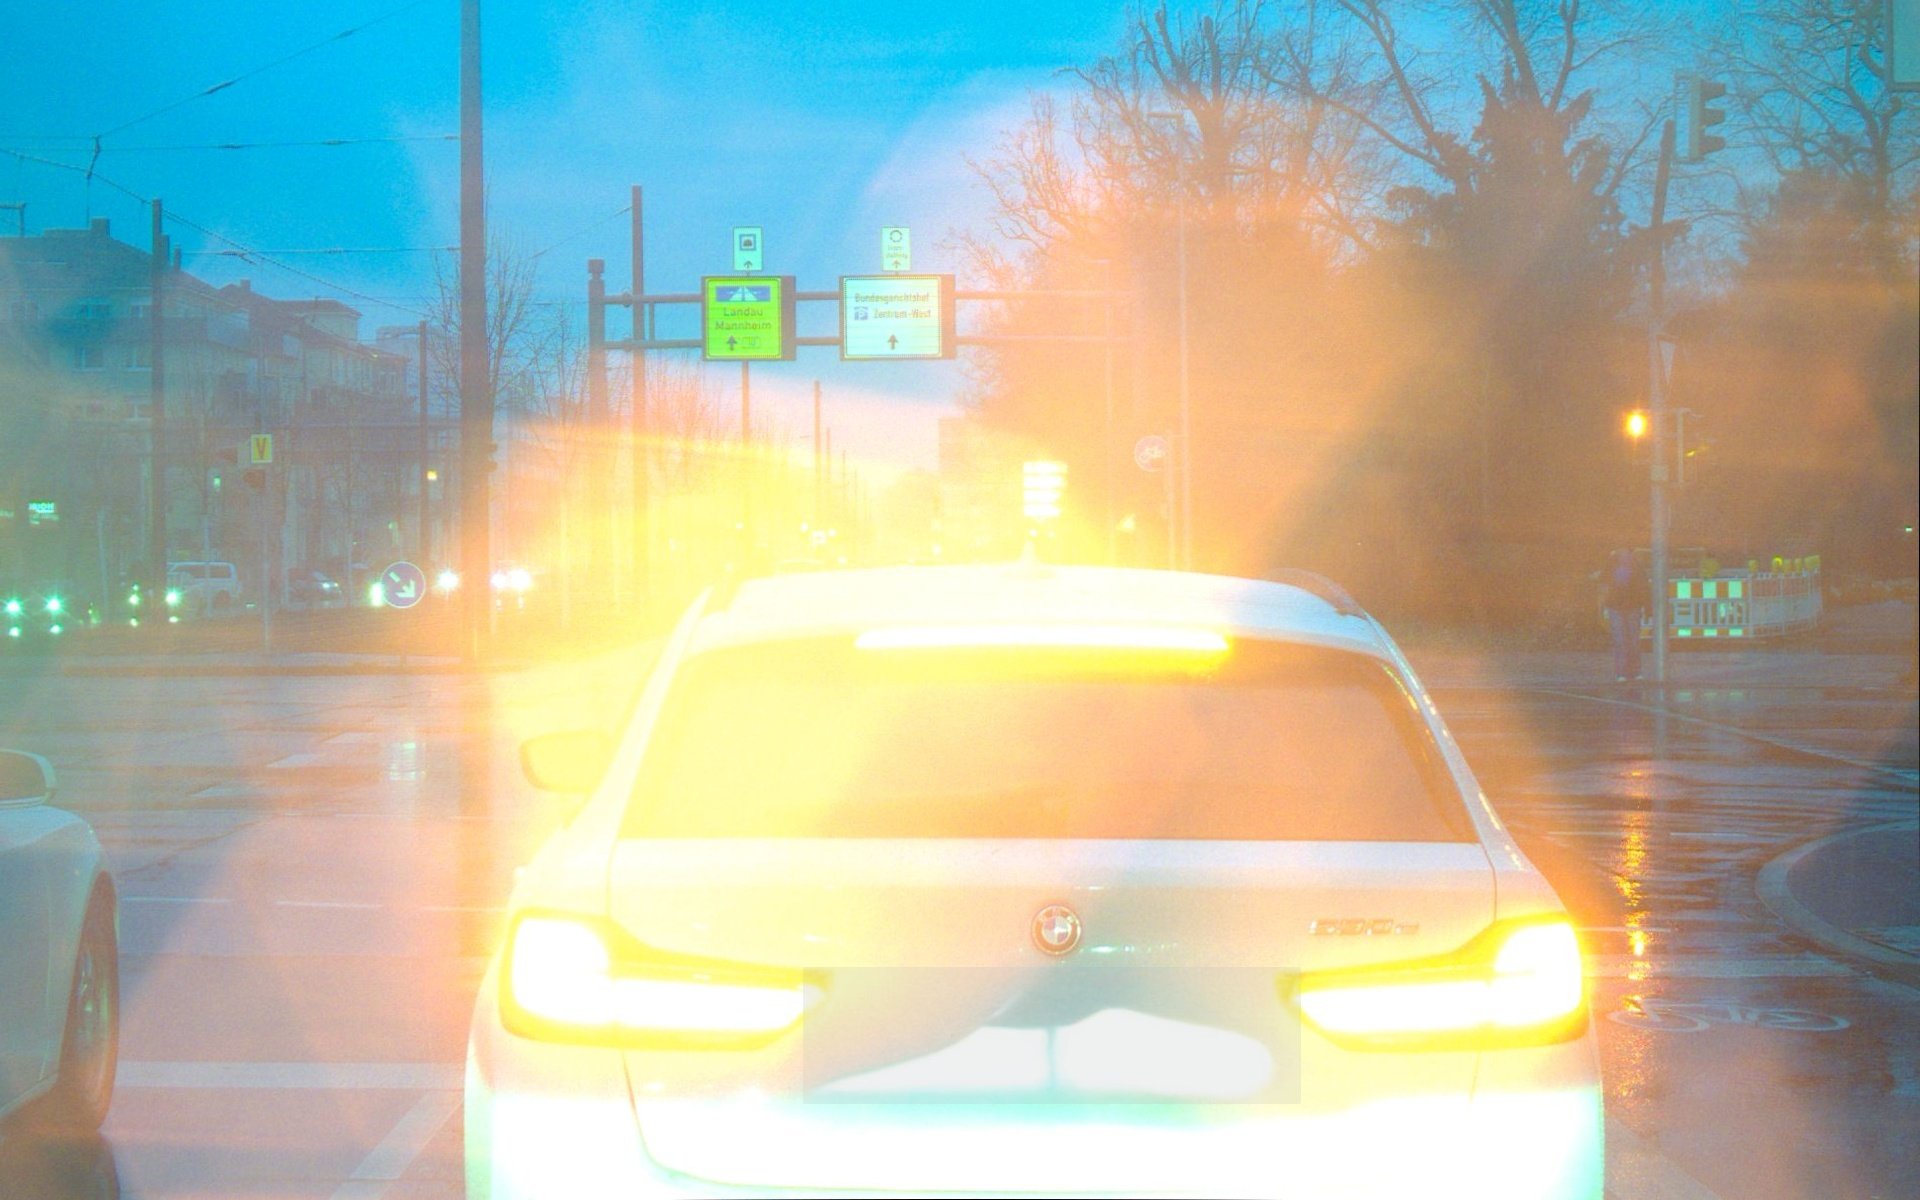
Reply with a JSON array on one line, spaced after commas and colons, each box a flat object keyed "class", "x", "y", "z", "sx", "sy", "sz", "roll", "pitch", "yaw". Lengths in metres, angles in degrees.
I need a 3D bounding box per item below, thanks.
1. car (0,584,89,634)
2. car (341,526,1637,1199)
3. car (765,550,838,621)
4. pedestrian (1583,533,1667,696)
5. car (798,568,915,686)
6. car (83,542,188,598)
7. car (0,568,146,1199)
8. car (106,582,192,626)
[{"class": "car", "x": -28.299, "y": 0.265, "z": 105.566, "sx": 1.993, "sy": 1.457, "sz": 5.095, "roll": 1, "pitch": 1, "yaw": -2}, {"class": "car", "x": -0.058, "y": 0.663, "z": 6.819, "sx": 1.759, "sy": 1.547, "sz": 4.252, "roll": 1, "pitch": 1, "yaw": -3}, {"class": "car", "x": -4.631, "y": -0.441, "z": 100.832, "sx": 1.993, "sy": 2.007, "sz": 4.000, "roll": 1, "pitch": 1, "yaw": -1}, {"class": "pedestrian", "x": 7.723, "y": 0.164, "z": 39.921, "sx": 0.714, "sy": 1.873, "sz": 0.674, "roll": 1, "pitch": 0, "yaw": 36}, {"class": "car", "x": -1.819, "y": 0.447, "z": 61.538, "sx": 1.993, "sy": 2.007, "sz": 4.000, "roll": 1, "pitch": 1, "yaw": -1}, {"class": "car", "x": -22.523, "y": -0.822, "z": 94.112, "sx": 1.993, "sy": 1.457, "sz": 5.096, "roll": 1, "pitch": 1, "yaw": -4}, {"class": "car", "x": -2.954, "y": 0.662, "z": 6.990, "sx": 1.759, "sy": 1.464, "sz": 4.252, "roll": 1, "pitch": 1, "yaw": -3}, {"class": "car", "x": -28.286, "y": 0.122, "z": 120.068, "sx": 1.993, "sy": 1.457, "sz": 5.095, "roll": 1, "pitch": 1, "yaw": -2}]
